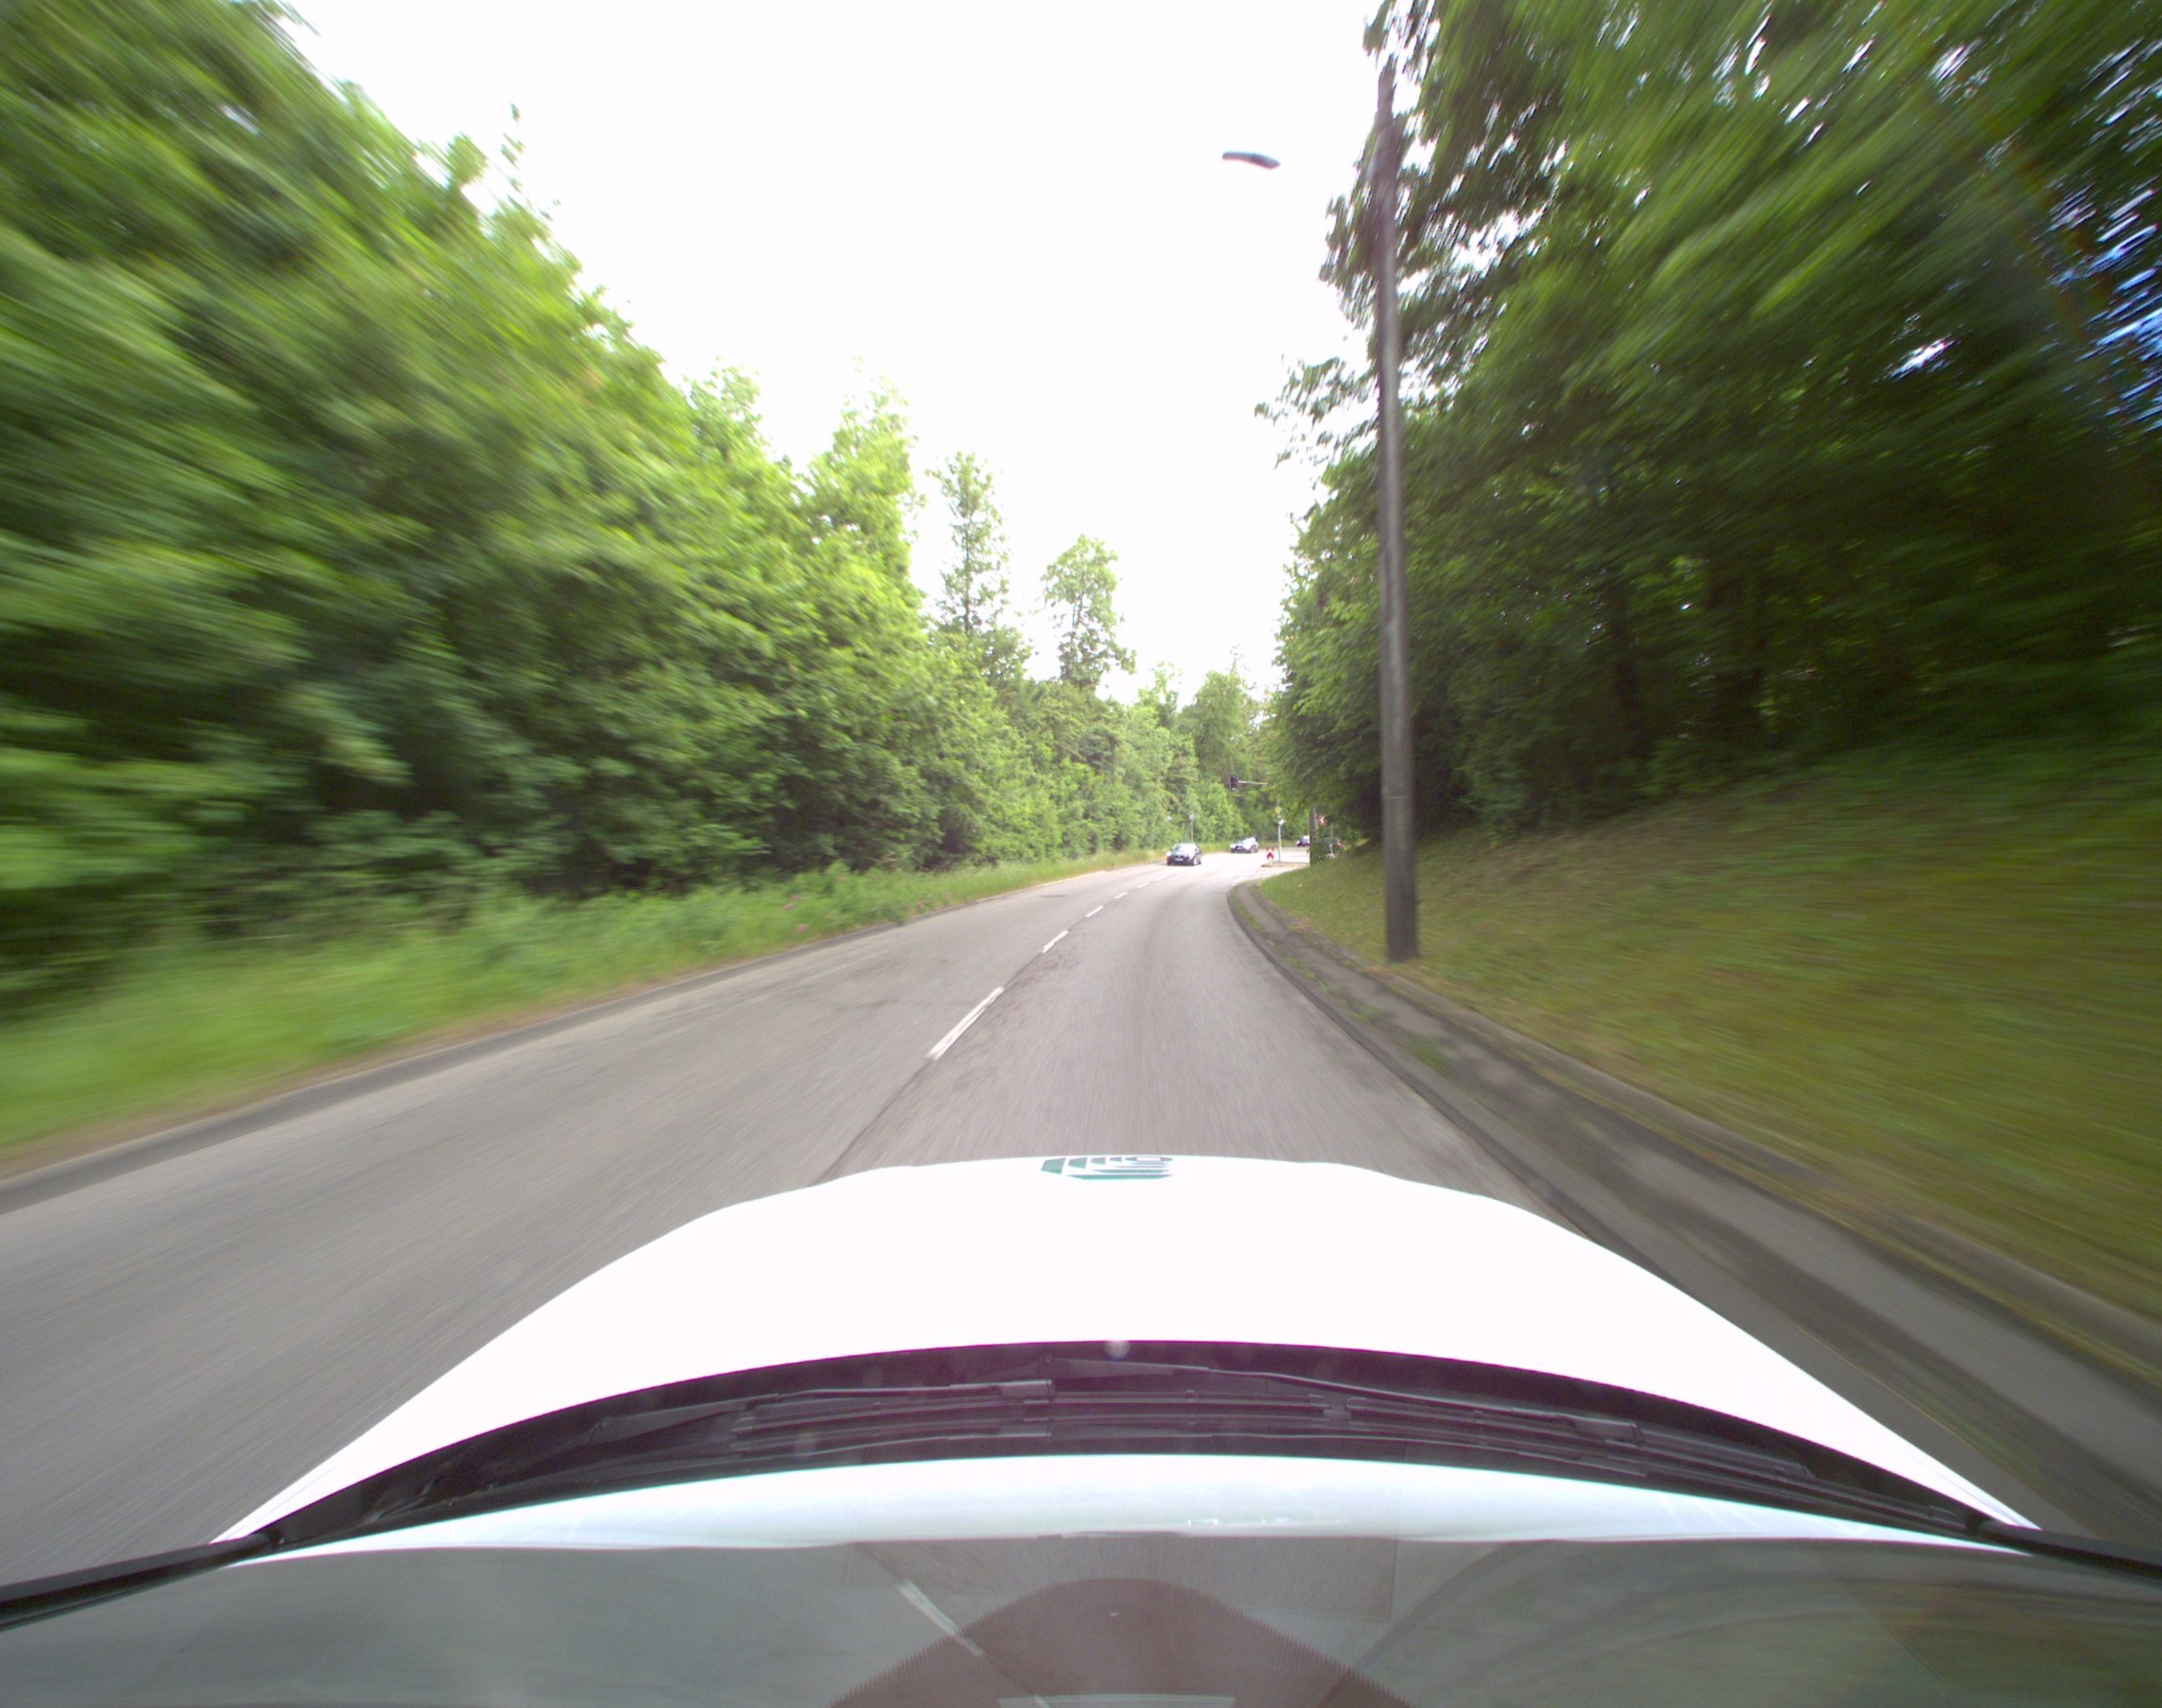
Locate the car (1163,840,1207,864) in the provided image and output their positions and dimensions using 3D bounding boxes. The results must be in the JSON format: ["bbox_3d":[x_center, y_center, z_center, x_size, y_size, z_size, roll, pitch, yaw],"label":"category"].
[{"bbox_3d":[6.774,-0.142,52.507,1.787,1.434,4.683,2,1,20],"label":"car"}]

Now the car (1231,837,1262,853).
[{"bbox_3d":[15.547,-0.889,76.479,1.882,1.354,4.869,2,2,23],"label":"car"}]

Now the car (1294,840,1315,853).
[{"bbox_3d":[28.697,-0.998,104.443,1.773,1.514,4.870,1,2,24],"label":"car"}]
